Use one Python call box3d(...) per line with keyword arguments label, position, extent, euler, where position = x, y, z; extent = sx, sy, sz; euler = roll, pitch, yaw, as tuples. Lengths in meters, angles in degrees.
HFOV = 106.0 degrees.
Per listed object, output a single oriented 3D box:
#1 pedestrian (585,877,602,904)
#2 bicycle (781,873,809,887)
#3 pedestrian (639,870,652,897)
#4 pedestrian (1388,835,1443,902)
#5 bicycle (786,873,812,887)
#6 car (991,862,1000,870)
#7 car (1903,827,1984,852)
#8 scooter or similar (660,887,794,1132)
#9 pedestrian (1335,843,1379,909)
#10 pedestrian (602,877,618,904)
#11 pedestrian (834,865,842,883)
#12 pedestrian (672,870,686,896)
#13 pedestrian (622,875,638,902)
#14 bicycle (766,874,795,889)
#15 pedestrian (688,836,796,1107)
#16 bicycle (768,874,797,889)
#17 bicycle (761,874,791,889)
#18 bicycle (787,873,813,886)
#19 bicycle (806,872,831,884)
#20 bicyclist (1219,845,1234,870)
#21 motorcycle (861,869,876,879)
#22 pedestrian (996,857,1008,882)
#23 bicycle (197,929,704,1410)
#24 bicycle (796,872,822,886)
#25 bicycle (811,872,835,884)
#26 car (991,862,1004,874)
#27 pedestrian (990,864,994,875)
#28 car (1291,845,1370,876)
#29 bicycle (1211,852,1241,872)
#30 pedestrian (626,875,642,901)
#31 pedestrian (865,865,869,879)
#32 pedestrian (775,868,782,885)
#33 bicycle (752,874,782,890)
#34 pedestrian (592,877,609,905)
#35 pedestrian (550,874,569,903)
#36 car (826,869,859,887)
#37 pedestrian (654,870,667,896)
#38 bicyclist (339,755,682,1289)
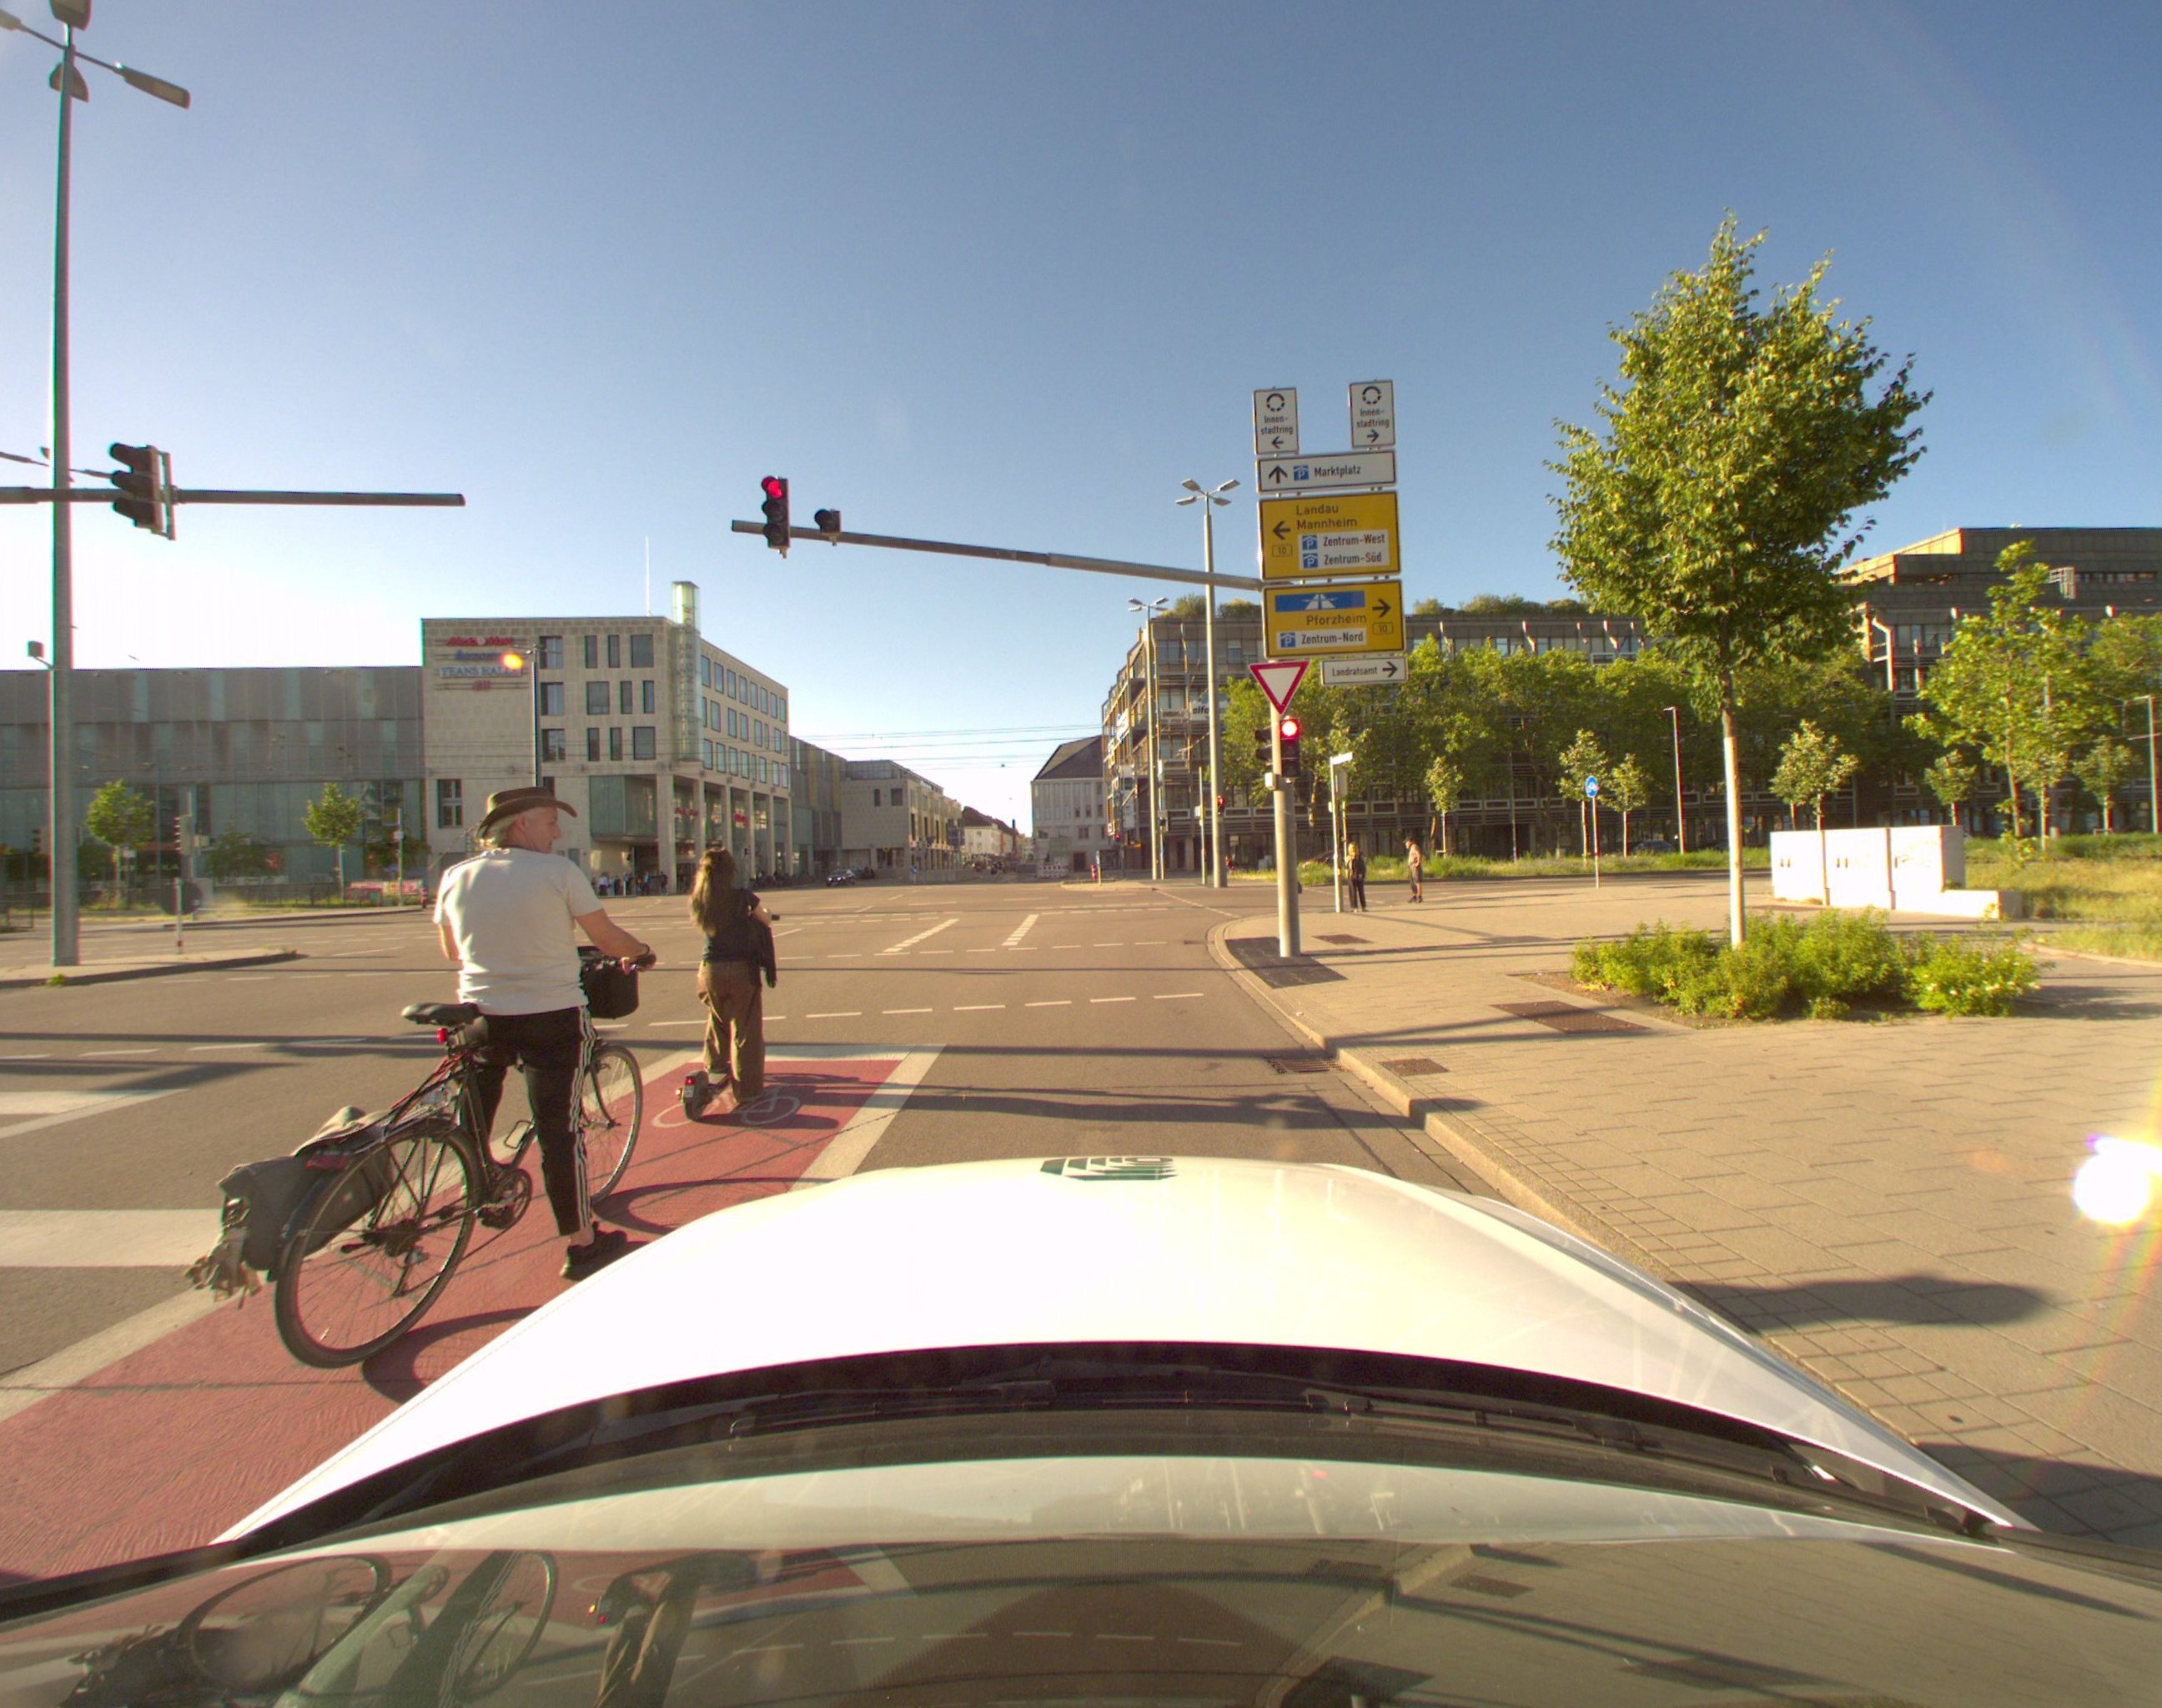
box3d(label="pedestrian", position=(-34.915, 2.591, 58.351), extent=(0.783, 1.885, 0.716), euler=(0, -1, -4))
box3d(label="bicycle", position=(-26.695, 2.454, 75.968), extent=(2.299, 1.222, 0.612), euler=(-2, 0, -1))
box3d(label="pedestrian", position=(-31.122, 2.073, 58.205), extent=(0.718, 1.885, 0.781), euler=(0, -1, -25))
box3d(label="pedestrian", position=(8.629, 0.368, 21.030), extent=(0.881, 1.665, 0.958), euler=(0, -1, -19))
box3d(label="bicycle", position=(-27.062, 2.474, 78.136), extent=(2.299, 1.222, 0.612), euler=(-2, 0, -1))
box3d(label="car", position=(-16.380, 2.251, 156.067), extent=(1.782, 1.451, 3.993), euler=(0, -1, -5))
box3d(label="car", position=(56.975, -0.957, 53.835), extent=(3.892, 1.585, 1.656), euler=(0, -1, -5))
box3d(label="scooter or similar", position=(-2.155, 0.871, 5.079), extent=(0.547, 1.294, 1.188), euler=(0, -1, -13))
box3d(label="pedestrian", position=(6.311, 0.499, 18.660), extent=(0.785, 1.492, 0.644), euler=(0, -1, 1))
box3d(label="pedestrian", position=(-33.941, 2.619, 58.730), extent=(0.714, 1.885, 0.786), euler=(0, -1, -6))
box3d(label="pedestrian", position=(-23.783, 1.975, 79.633), extent=(0.650, 1.719, 0.447), euler=(-2, 0, -22))
box3d(label="pedestrian", position=(-29.105, 2.060, 58.945), extent=(0.801, 1.843, 0.855), euler=(-2, 0, -30))
box3d(label="pedestrian", position=(-31.945, 2.445, 57.697), extent=(0.783, 1.885, 0.716), euler=(0, -1, -4))
box3d(label="bicycle", position=(-26.564, 2.421, 72.016), extent=(2.299, 1.222, 0.612), euler=(-2, 0, -1))
box3d(label="pedestrian", position=(-2.161, 0.707, 5.248), extent=(0.549, 1.633, 0.569), euler=(0, -1, -13))
box3d(label="bicycle", position=(-26.739, 2.429, 72.901), extent=(2.299, 1.222, 0.612), euler=(-2, 0, -1))
box3d(label="bicycle", position=(-26.461, 2.409, 70.656), extent=(2.299, 1.222, 0.612), euler=(-2, 0, -1))
box3d(label="bicycle", position=(-27.628, 2.495, 80.131), extent=(2.299, 1.222, 0.612), euler=(-2, 0, -1))
box3d(label="bicycle", position=(-27.587, 2.539, 85.586), extent=(2.299, 1.222, 0.612), euler=(-2, 0, -1))
box3d(label="bicyclist", position=(8.386, 0.183, 46.976), extent=(0.710, 1.437, 0.496), euler=(0, -1, -7))
box3d(label="motorcycle", position=(-25.780, 2.420, 98.743), extent=(1.807, 1.206, 0.509), euler=(0, 0, -14))
box3d(label="pedestrian", position=(-5.982, 1.188, 61.549), extent=(0.637, 1.890, 0.794), euler=(-1, -1, 16))
box3d(label="bicycle", position=(-2.147, 0.944, 3.143), extent=(0.483, 1.156, 1.832), euler=(0, -1, 2))
box3d(label="bicycle", position=(-27.184, 2.501, 81.348), extent=(2.299, 1.222, 0.612), euler=(-2, 0, -1))
box3d(label="bicycle", position=(-27.422, 2.546, 86.652), extent=(2.299, 1.222, 0.612), euler=(-2, 0, -1))
box3d(label="car", position=(-11.136, 1.846, 108.660), extent=(1.735, 1.531, 3.848), euler=(0, -1, -5))
box3d(label="pedestrian", position=(-12.832, 2.226, 117.655), extent=(0.520, 1.679, 0.582), euler=(0, 0, -5))
box3d(label="car", position=(14.056, 0.352, 45.973), extent=(3.880, 1.585, 1.656), euler=(-2, -1, -6))
box3d(label="bicycle", position=(8.365, 0.457, 46.953), extent=(1.643, 1.154, 0.496), euler=(0, -1, -8))
box3d(label="pedestrian", position=(-32.511, 2.462, 59.248), extent=(0.783, 1.885, 0.716), euler=(0, -1, -4))
box3d(label="pedestrian", position=(-26.101, 2.181, 99.360), extent=(0.521, 1.679, 0.580), euler=(0, 0, -12))
box3d(label="pedestrian", position=(-29.576, 2.180, 79.659), extent=(0.553, 1.679, 0.606), euler=(0, 0, -8))
box3d(label="bicycle", position=(-26.732, 2.400, 69.379), extent=(2.299, 1.222, 0.612), euler=(-2, 0, -1))
box3d(label="pedestrian", position=(-33.867, 2.607, 57.378), extent=(0.783, 1.885, 0.716), euler=(0, -1, -4))
box3d(label="pedestrian", position=(-37.694, 2.489, 58.897), extent=(0.883, 2.014, 0.771), euler=(0, -1, -9))
box3d(label="car", position=(-20.623, 2.043, 70.512), extent=(1.625, 1.342, 3.999), euler=(-4, -1, 0))
box3d(label="pedestrian", position=(-30.791, 2.113, 59.671), extent=(0.800, 1.843, 0.856), euler=(-2, 0, -26))
box3d(label="bicyclist", position=(-2.054, 0.544, 3.066), extent=(0.658, 1.720, 0.866), euler=(0, -1, 1))
